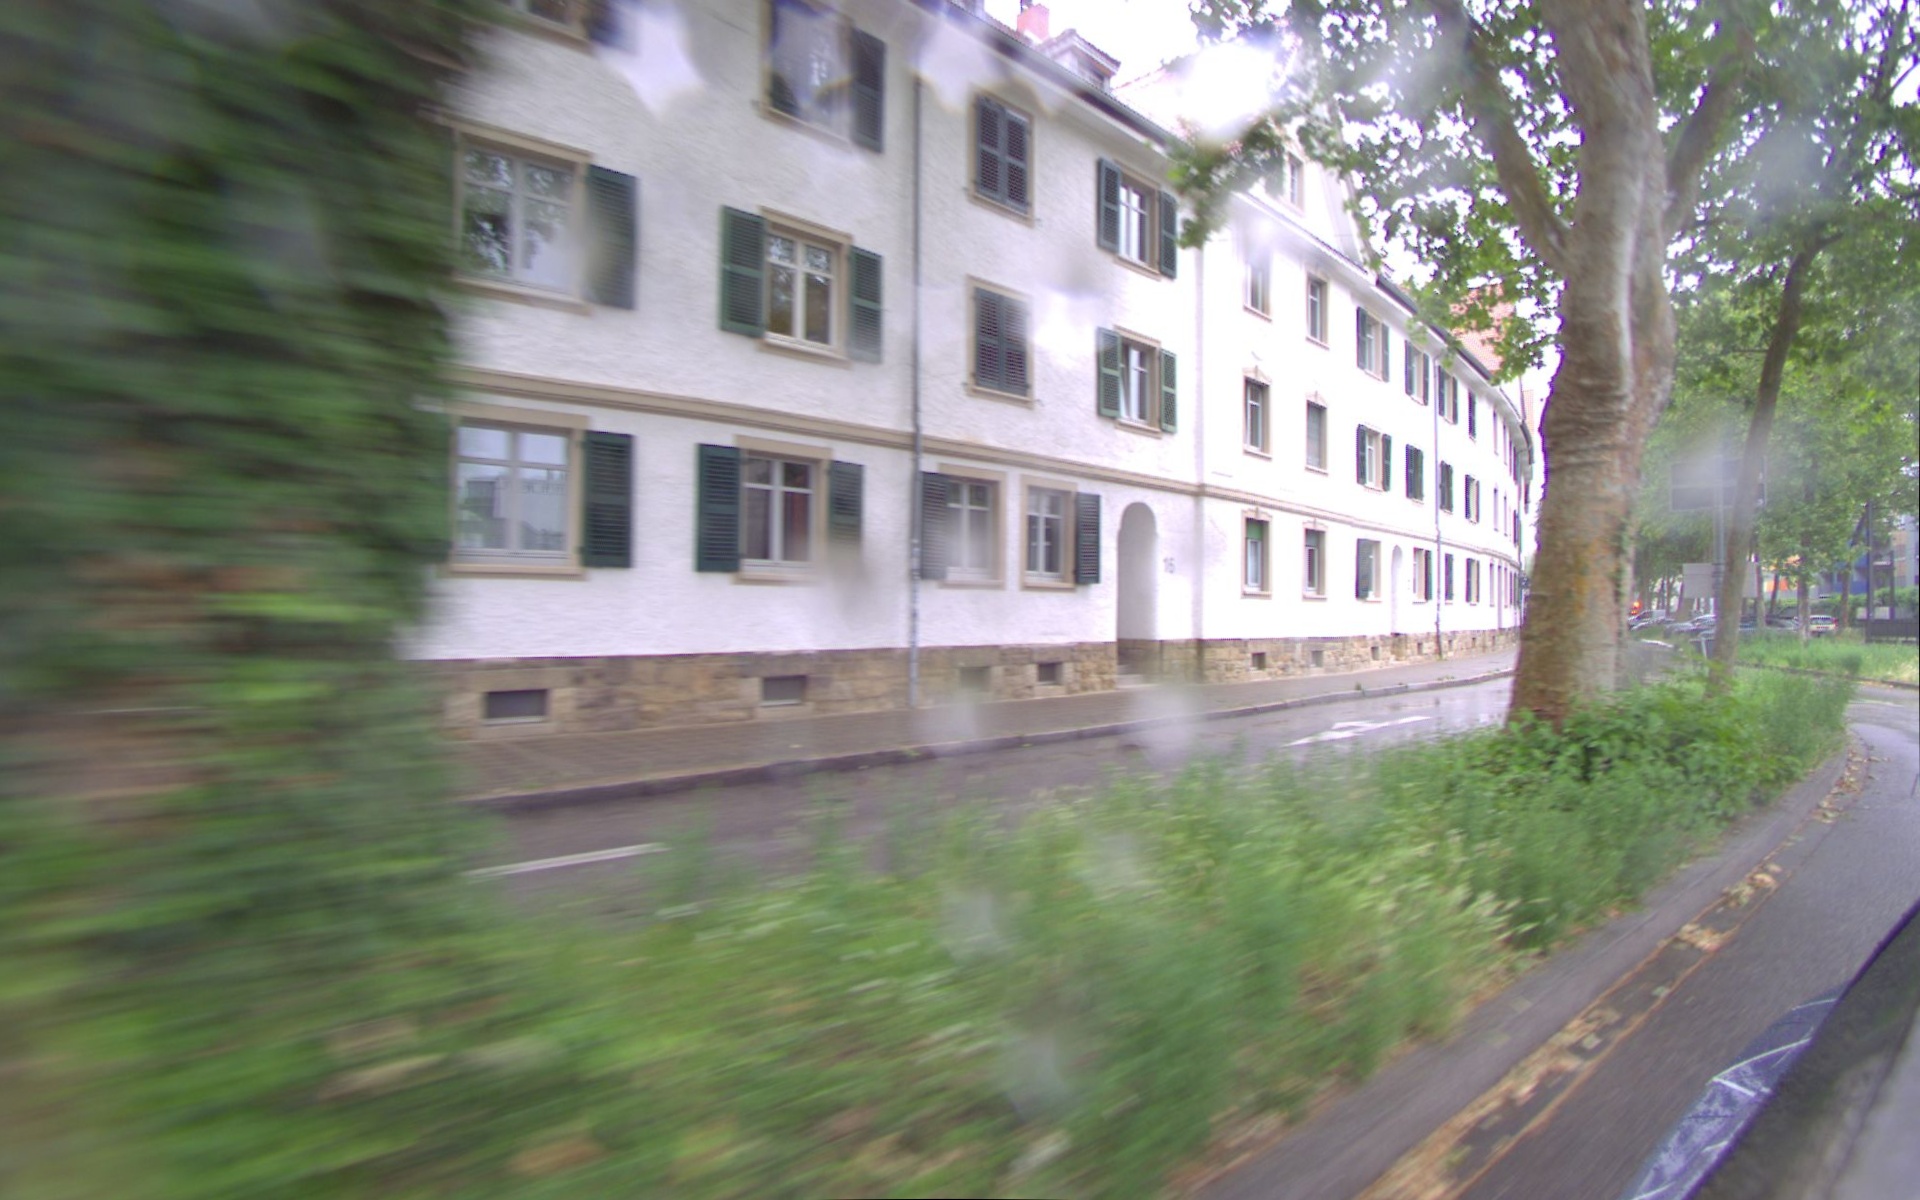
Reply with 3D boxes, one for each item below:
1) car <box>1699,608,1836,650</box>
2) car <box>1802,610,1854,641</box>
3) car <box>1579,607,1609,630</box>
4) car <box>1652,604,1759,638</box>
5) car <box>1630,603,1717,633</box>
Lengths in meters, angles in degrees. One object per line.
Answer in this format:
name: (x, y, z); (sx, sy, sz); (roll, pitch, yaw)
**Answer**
car: (34.818, 1.216, 43.766); (1.892, 1.560, 4.236); (1, 1, -30)
car: (54.095, 1.562, 63.108); (1.678, 1.745, 3.655); (2, 1, 28)
car: (47.113, 1.354, 75.294); (1.838, 1.616, 4.169); (0, 0, 31)
car: (40.178, 1.097, 54.628); (1.715, 1.633, 4.335); (1, 1, -34)
car: (53.477, 1.345, 75.954); (1.960, 2.039, 4.899); (1, 1, -30)
